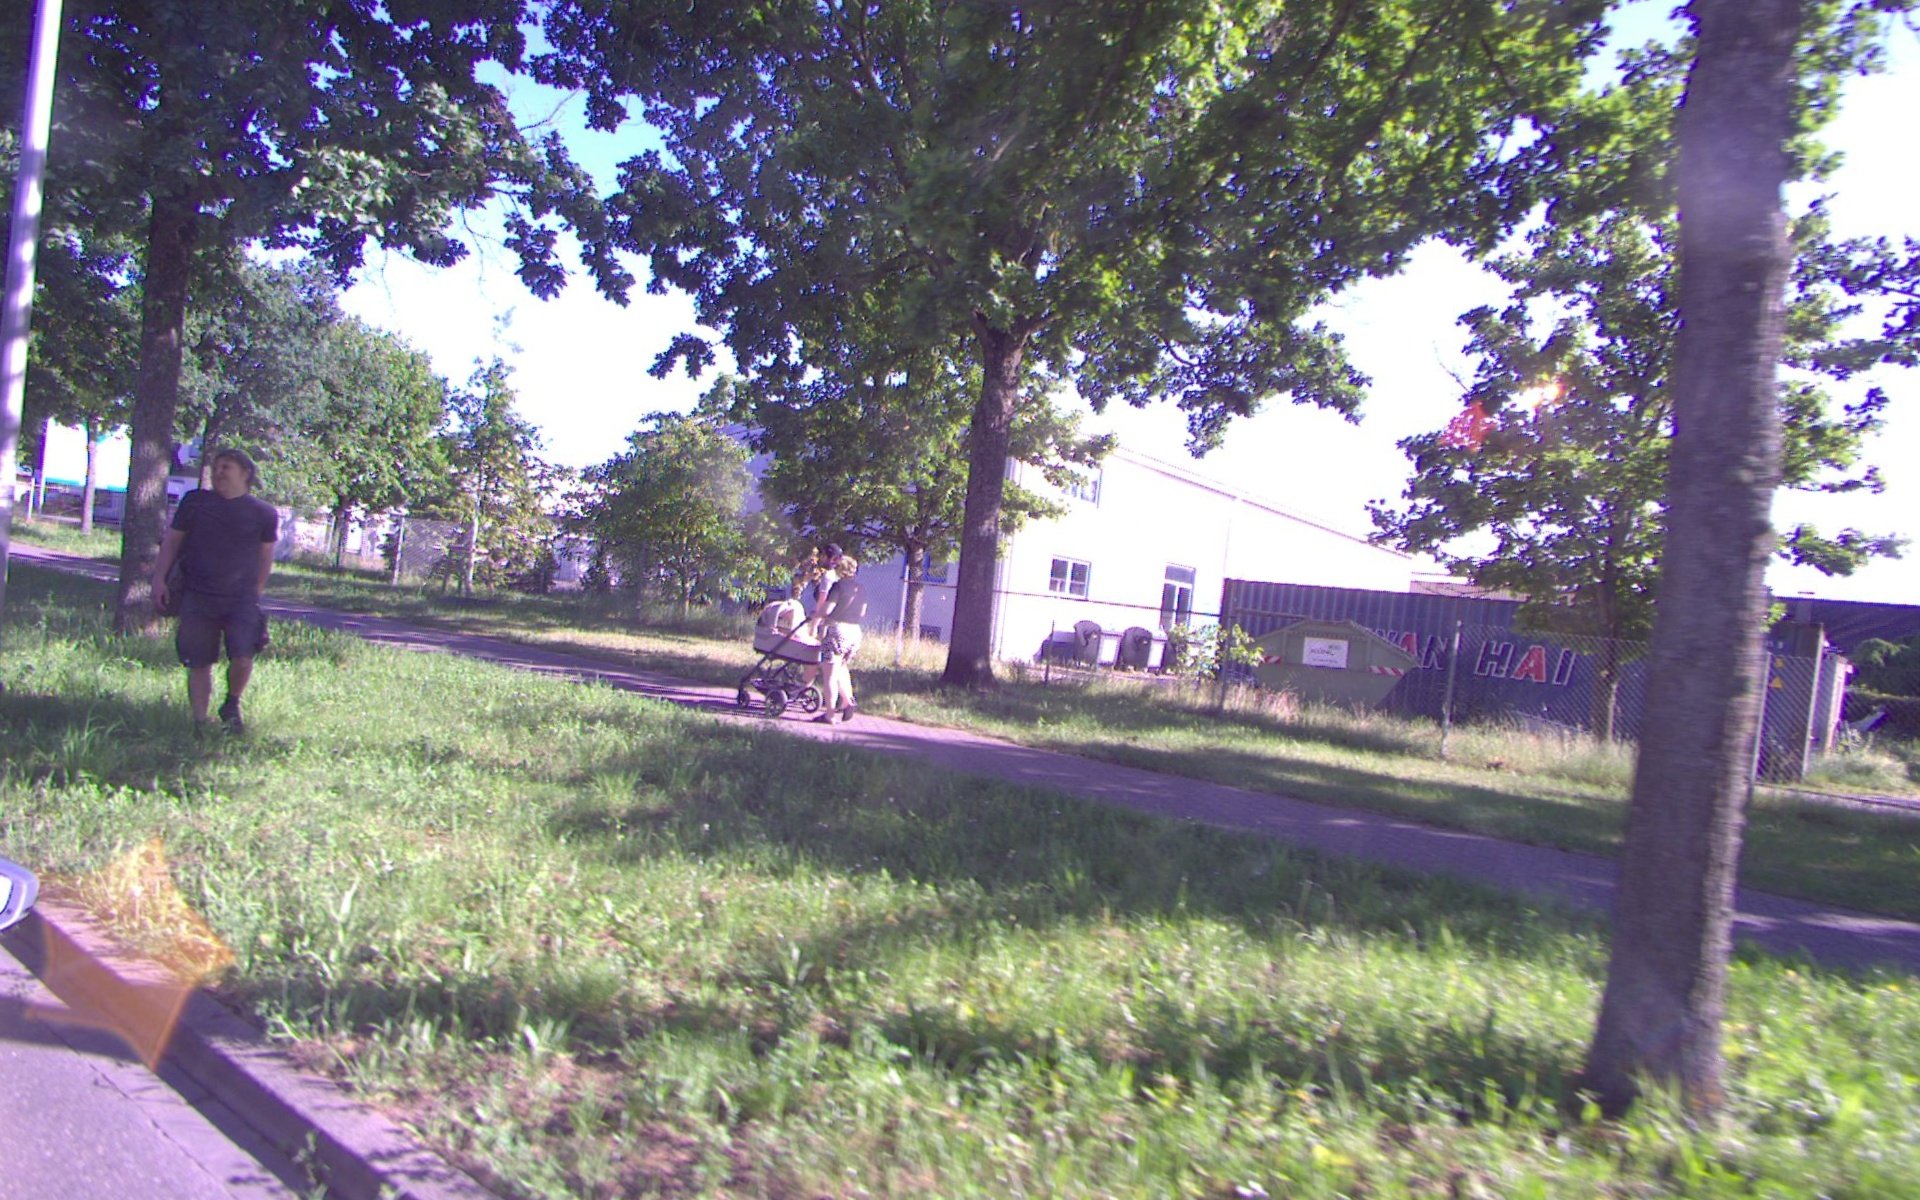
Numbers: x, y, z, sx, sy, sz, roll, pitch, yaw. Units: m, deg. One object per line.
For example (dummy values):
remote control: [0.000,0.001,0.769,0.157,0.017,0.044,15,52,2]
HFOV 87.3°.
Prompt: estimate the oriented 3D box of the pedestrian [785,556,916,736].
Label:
pedestrian: [-1.073,0.442,9.895,0.853,1.623,0.726,7,1,32]

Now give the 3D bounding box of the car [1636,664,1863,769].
car: [23.536,3.439,30.142,4.945,2.087,2.081,10,1,44]

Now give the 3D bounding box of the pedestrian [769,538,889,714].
pedestrian: [-1.427,0.278,10.965,0.853,1.777,0.726,7,1,32]

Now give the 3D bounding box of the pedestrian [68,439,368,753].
pedestrian: [-4.479,-0.028,6.097,1.081,1.672,1.020,7,1,32]

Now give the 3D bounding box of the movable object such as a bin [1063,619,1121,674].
movable object such as a bin: [3.854,1.345,29.352,1.180,1.424,1.047,6,1,-41]

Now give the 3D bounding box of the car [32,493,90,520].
car: [-63.724,-6.649,71.291,3.701,1.401,1.769,7,0,27]

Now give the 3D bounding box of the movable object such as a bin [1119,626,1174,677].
movable object such as a bin: [5.837,1.604,31.427,1.180,1.424,1.047,6,1,-41]

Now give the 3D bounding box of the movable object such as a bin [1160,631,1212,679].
movable object such as a bin: [7.417,1.805,33.050,1.180,1.424,1.047,6,1,-41]

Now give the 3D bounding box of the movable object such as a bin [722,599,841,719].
movable object such as a bin: [-1.834,0.591,10.361,0.853,1.095,0.726,7,2,32]
